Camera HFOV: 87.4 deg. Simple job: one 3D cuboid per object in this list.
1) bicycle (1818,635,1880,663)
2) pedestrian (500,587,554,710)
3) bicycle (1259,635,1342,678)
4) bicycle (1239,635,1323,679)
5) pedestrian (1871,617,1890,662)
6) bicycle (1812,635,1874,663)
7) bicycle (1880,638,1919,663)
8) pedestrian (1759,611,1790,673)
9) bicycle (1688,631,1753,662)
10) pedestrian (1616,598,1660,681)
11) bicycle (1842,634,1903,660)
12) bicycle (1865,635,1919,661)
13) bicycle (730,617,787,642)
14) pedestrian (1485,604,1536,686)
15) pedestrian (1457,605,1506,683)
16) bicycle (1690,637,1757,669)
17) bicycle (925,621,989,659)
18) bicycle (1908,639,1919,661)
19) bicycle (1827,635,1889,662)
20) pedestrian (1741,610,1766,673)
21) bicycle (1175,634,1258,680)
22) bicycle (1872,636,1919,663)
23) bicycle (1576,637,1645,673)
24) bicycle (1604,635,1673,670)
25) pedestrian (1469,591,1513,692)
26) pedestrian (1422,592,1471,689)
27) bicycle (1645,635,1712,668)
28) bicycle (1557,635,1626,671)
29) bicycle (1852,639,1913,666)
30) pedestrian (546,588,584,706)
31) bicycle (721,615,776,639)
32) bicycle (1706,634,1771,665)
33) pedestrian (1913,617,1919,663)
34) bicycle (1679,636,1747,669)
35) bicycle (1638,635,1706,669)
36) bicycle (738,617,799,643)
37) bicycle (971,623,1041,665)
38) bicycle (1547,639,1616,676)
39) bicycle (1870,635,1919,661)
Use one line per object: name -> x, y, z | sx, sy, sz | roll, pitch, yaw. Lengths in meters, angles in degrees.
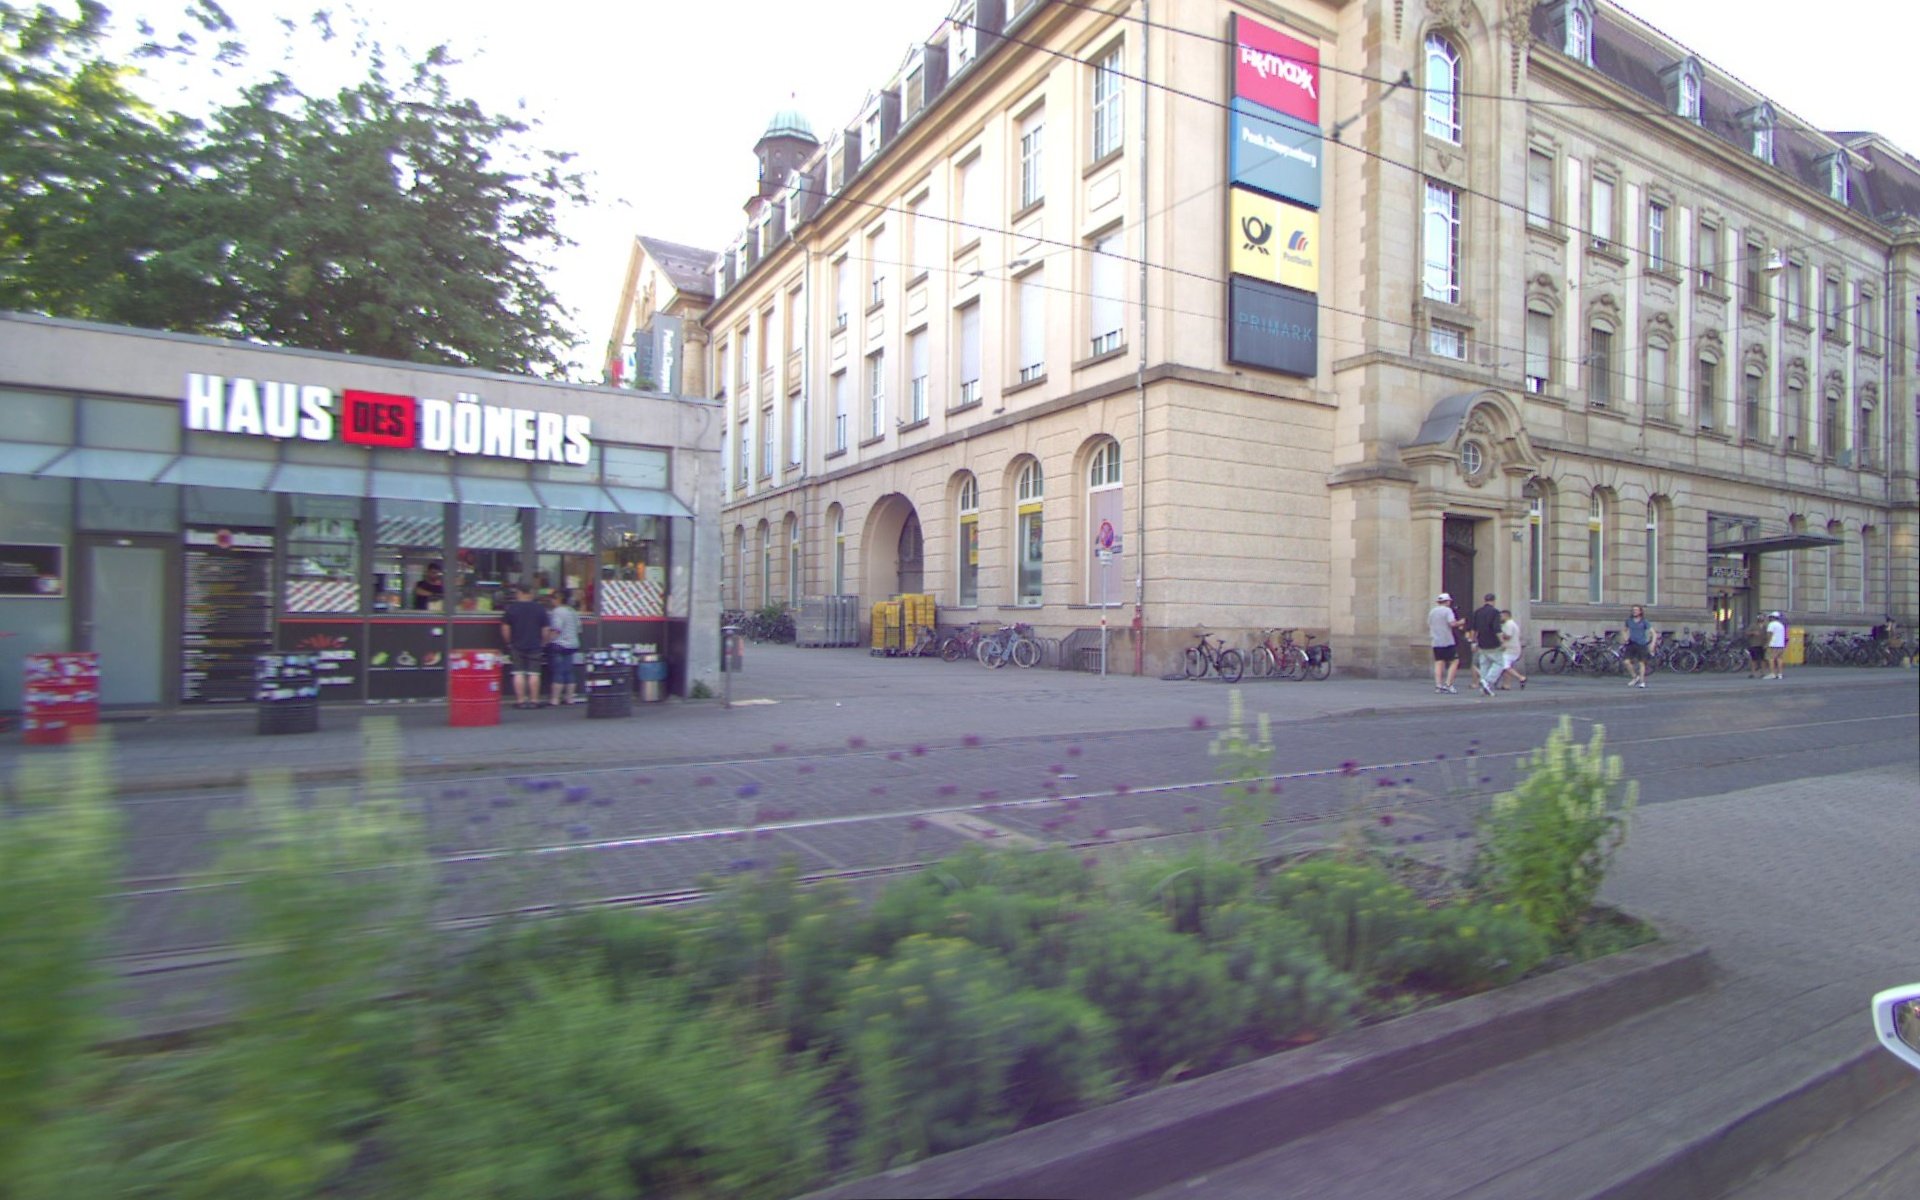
bicycle -> 31.453, 1.722, 35.555 | 0.445, 0.885, 1.571 | 2, 0, -25
pedestrian -> -6.035, 0.660, 13.984 | 0.547, 1.675, 0.557 | 2, 0, -36
bicycle -> 7.841, 1.296, 23.210 | 0.628, 0.880, 1.825 | 2, 0, -31
bicycle -> 7.261, 1.277, 22.785 | 0.628, 0.880, 1.825 | 2, 0, -31
pedestrian -> 33.932, 1.460, 37.035 | 0.424, 1.655, 0.363 | 2, 0, -24
bicycle -> 30.919, 1.714, 35.201 | 0.445, 0.885, 1.571 | 2, 0, -25
bicycle -> 36.920, 1.971, 39.119 | 0.445, 0.885, 1.571 | 2, 0, -25
pedestrian -> 21.794, 1.118, 26.868 | 0.483, 1.653, 0.376 | 2, 0, 10
bicycle -> 23.685, 1.429, 31.308 | 0.445, 0.885, 1.571 | 2, 0, -25
pedestrian -> 14.610, 0.850, 21.658 | 0.479, 1.759, 0.672 | 1, -2, -44
bicycle -> 32.947, 1.688, 36.291 | 0.445, 0.885, 1.571 | 2, 0, -25
bicycle -> 35.565, 1.813, 38.261 | 0.445, 0.885, 1.571 | 2, 0, -25
bicycle -> -7.985, 1.152, 39.810 | 2.168, 0.955, 0.534 | 1, 0, -31
pedestrian -> 10.992, 0.884, 20.052 | 0.673, 1.582, 0.655 | 1, -1, -34
pedestrian -> 10.801, 0.894, 20.809 | 0.673, 1.582, 0.655 | 1, -1, -34
bicycle -> 23.129, 1.586, 30.453 | 0.445, 0.885, 1.571 | 2, 0, -25
bicycle -> -0.079, 1.105, 28.072 | 1.820, 1.025, 0.480 | 1, 0, -32
bicycle -> 38.676, 2.018, 39.769 | 0.445, 0.885, 1.571 | 2, 0, -25
bicycle -> 31.981, 1.711, 35.796 | 0.445, 0.885, 1.571 | 2, 0, -25
pedestrian -> 21.673, 1.118, 27.432 | 0.488, 1.695, 0.372 | 2, 0, -36
bicycle -> 5.556, 1.221, 21.875 | 0.628, 0.880, 1.825 | 2, 0, -31
bicycle -> 34.352, 1.799, 36.605 | 0.445, 0.885, 1.571 | 2, 0, -25
bicycle -> 17.723, 1.492, 27.414 | 0.445, 0.885, 1.571 | 2, 0, -25
bicycle -> 18.652, 1.430, 27.640 | 0.445, 0.885, 1.571 | 2, 0, -25
pedestrian -> 9.407, 0.733, 17.817 | 0.638, 1.759, 0.594 | -1, -2, 26
pedestrian -> 9.027, 0.746, 18.643 | 0.670, 1.759, 0.674 | -2, -2, 38
bicycle -> 21.040, 1.496, 29.436 | 0.445, 0.885, 1.571 | 2, 0, -25
bicycle -> 16.930, 1.419, 26.972 | 0.445, 0.885, 1.571 | 2, 0, -25
bicycle -> 33.534, 1.905, 36.519 | 0.445, 0.885, 1.571 | 2, 0, -25
pedestrian -> -5.715, 0.672, 14.528 | 0.397, 1.675, 0.390 | 2, 0, -36
bicycle -> -8.749, 1.115, 41.512 | 2.168, 0.955, 0.534 | 1, 0, -31
bicycle -> 24.394, 1.544, 31.492 | 0.445, 0.885, 1.571 | 2, 0, -25
pedestrian -> 31.376, 1.285, 32.489 | 0.549, 1.486, 0.689 | 1, -1, -30
bicycle -> 22.346, 1.559, 29.841 | 0.445, 0.885, 1.571 | 2, 0, -25
bicycle -> 20.463, 1.491, 28.887 | 0.445, 0.885, 1.571 | 2, 0, -25
bicycle -> -7.384, 1.164, 38.808 | 2.168, 0.955, 0.847 | 1, 0, -31
bicycle -> 1.188, 1.115, 25.695 | 1.820, 1.025, 0.480 | 1, 0, -32
bicycle -> 16.485, 1.507, 26.673 | 0.445, 0.885, 1.571 | 2, 0, -25
bicycle -> 34.833, 1.776, 37.241 | 0.445, 0.885, 1.571 | 2, 0, -25
